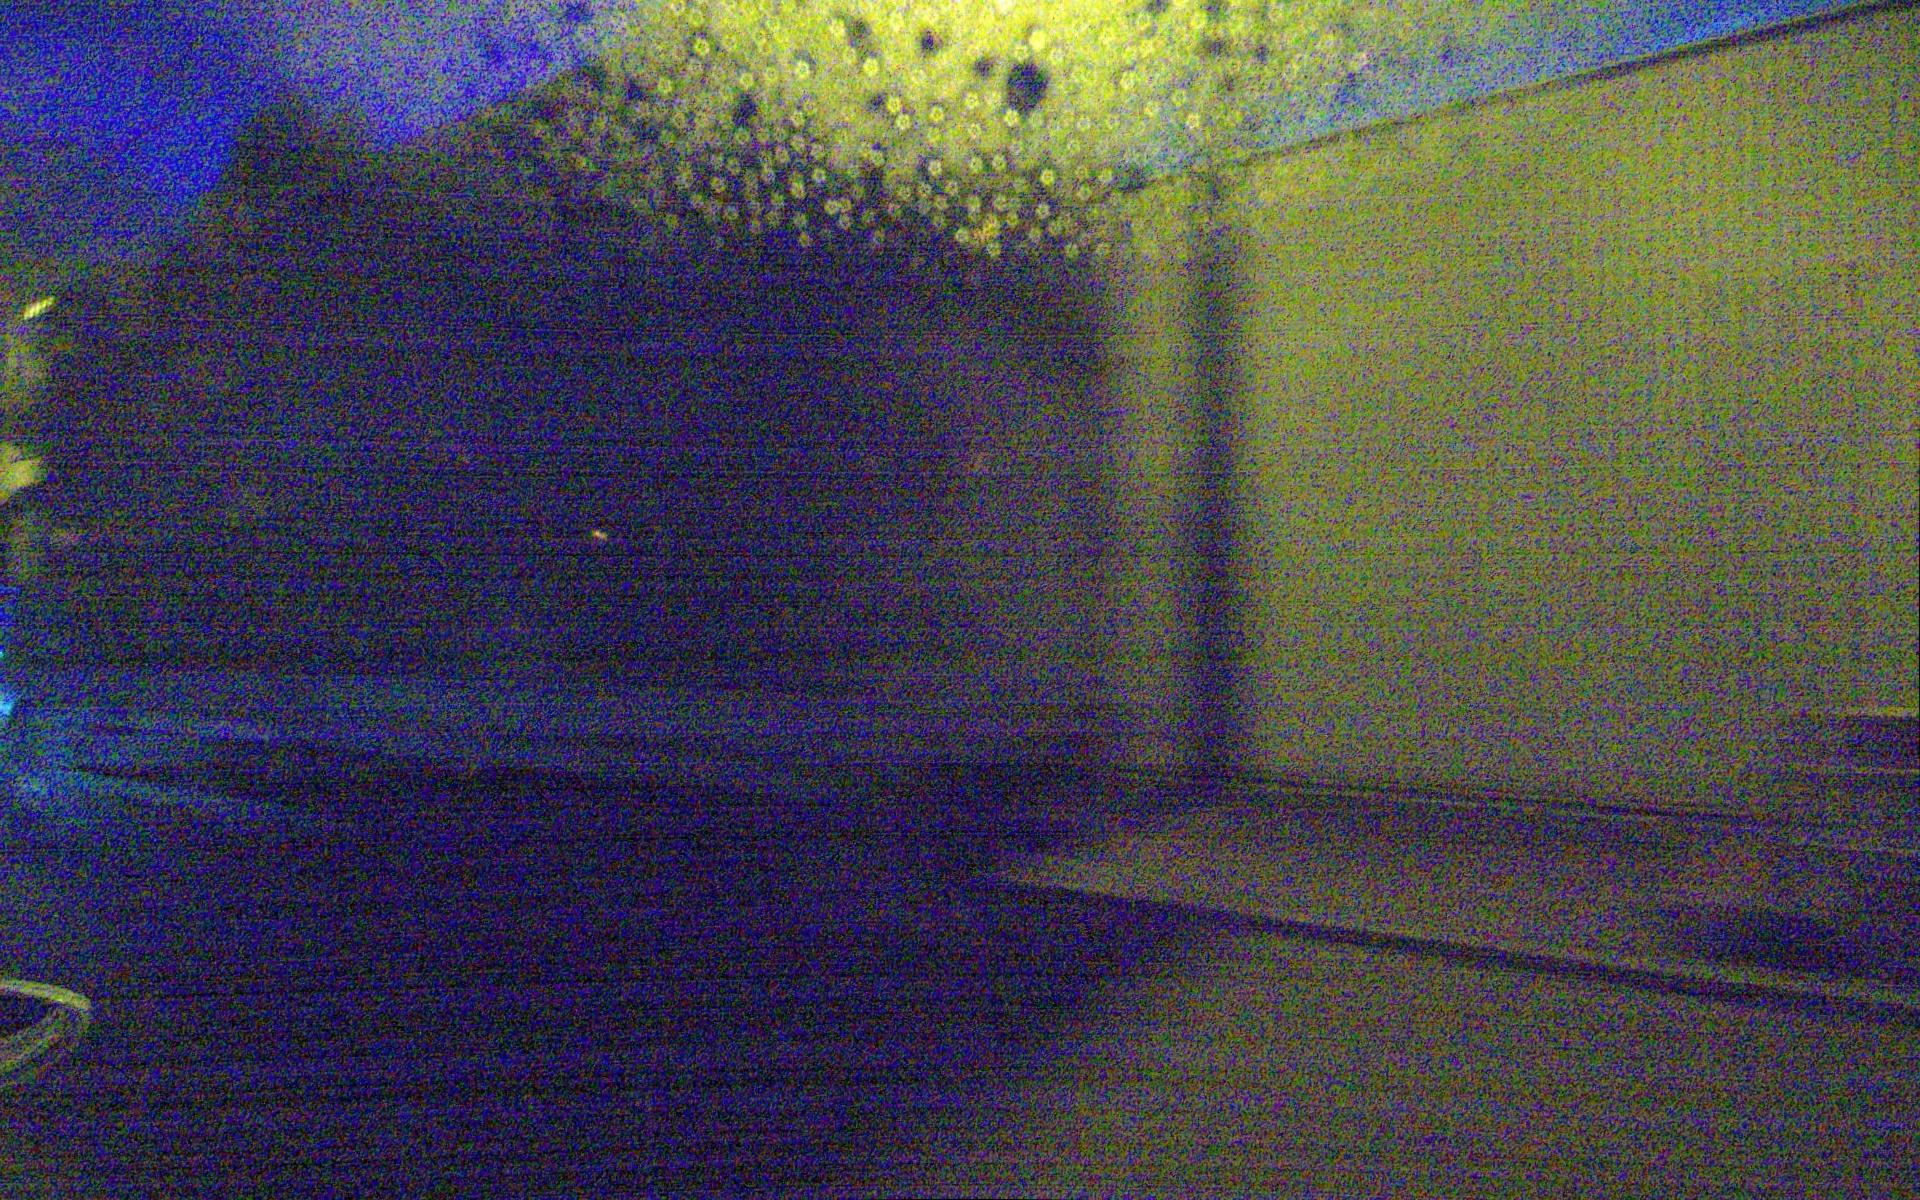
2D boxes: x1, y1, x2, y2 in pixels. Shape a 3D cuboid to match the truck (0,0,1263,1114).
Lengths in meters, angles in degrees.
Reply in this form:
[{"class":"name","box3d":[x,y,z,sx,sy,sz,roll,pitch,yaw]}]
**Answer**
[{"class":"truck","box3d":[-3.464,-0.374,7.061,10.189,4.035,3.516,-1,-1,30]}]
